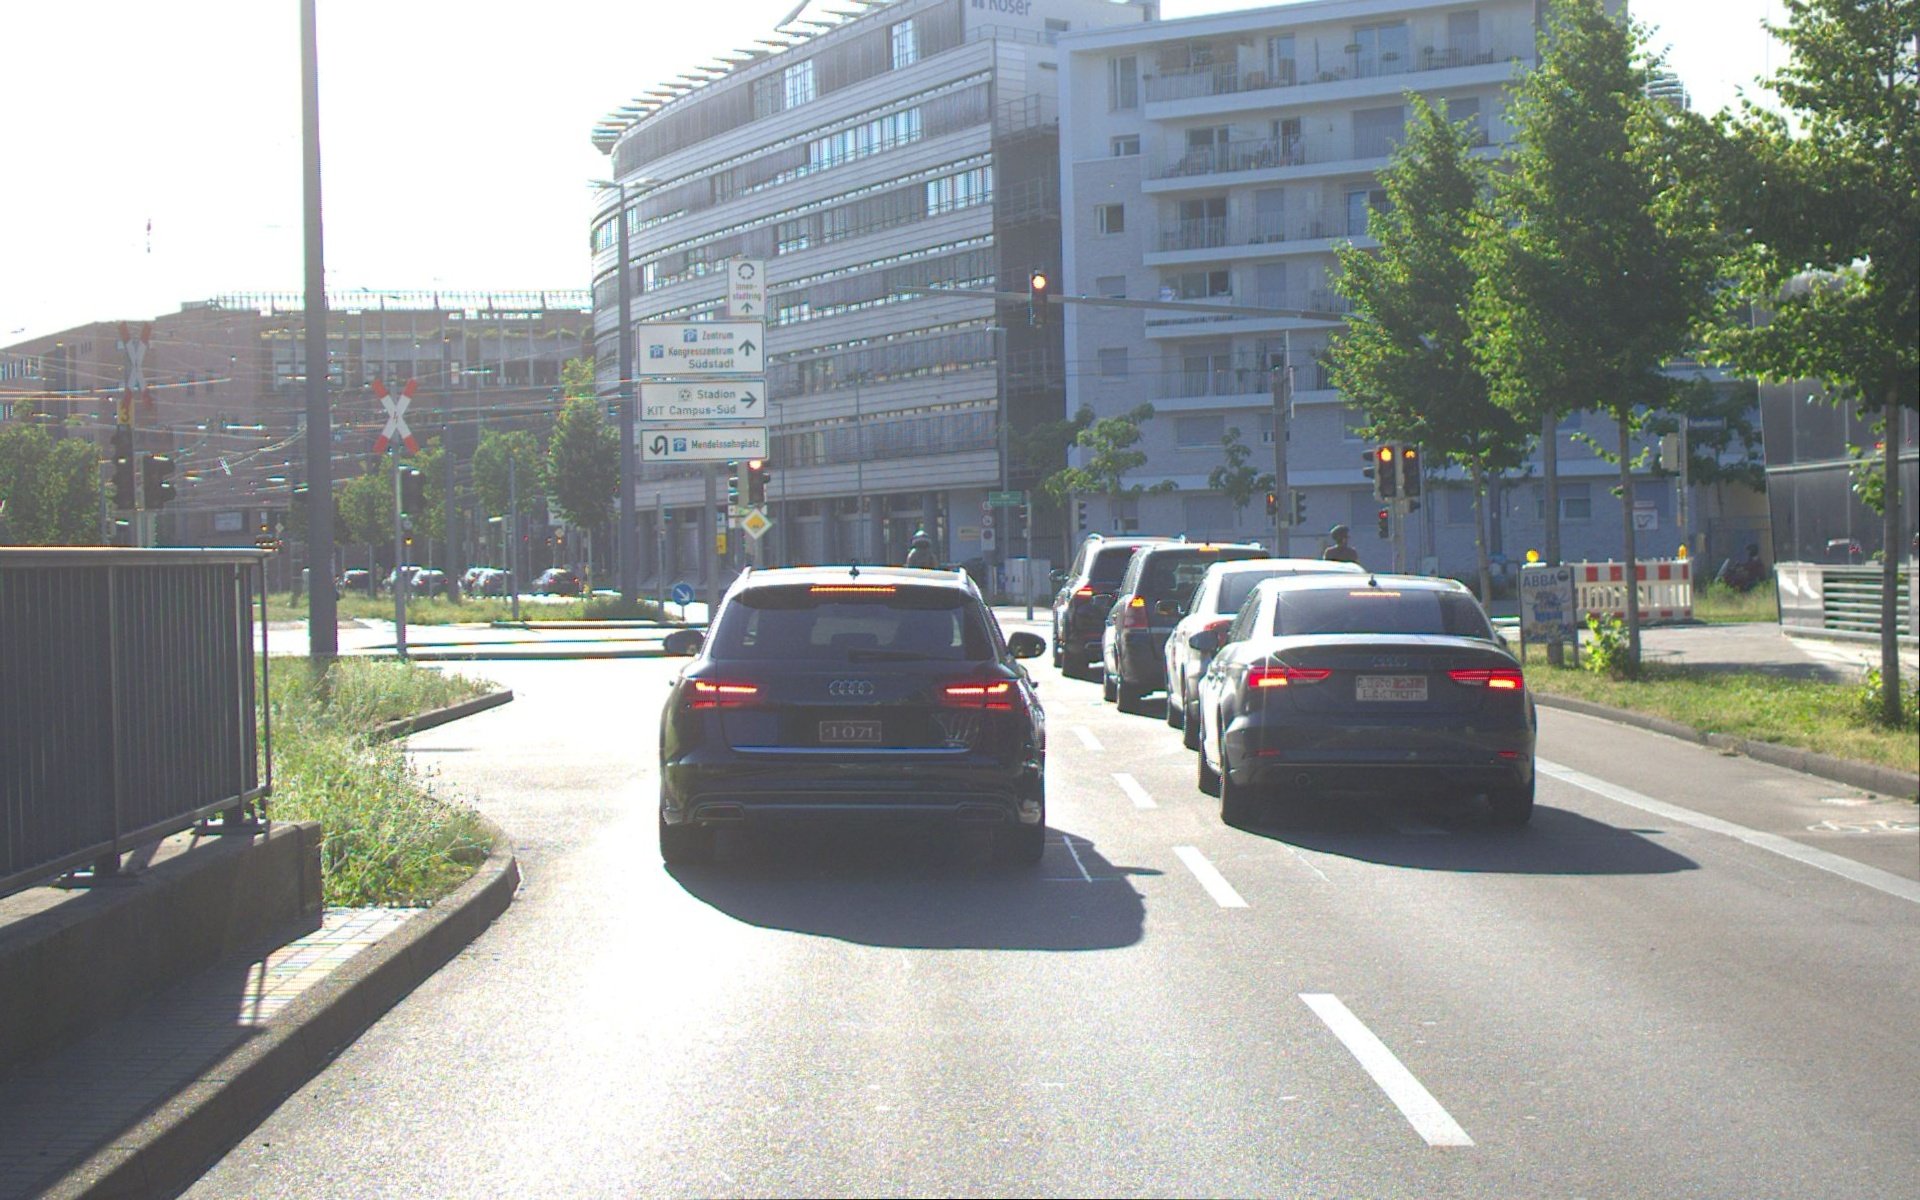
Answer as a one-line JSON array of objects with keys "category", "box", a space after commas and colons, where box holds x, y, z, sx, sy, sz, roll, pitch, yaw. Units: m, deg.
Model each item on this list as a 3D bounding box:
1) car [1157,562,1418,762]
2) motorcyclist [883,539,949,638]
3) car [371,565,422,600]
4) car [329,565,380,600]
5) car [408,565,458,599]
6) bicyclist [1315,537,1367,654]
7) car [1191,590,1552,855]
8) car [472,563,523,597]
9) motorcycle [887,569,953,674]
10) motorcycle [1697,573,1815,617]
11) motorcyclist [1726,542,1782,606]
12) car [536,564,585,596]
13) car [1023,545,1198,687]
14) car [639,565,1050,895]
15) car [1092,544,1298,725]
[{"category": "car", "box": [2.600, 0.451, 28.188, 1.746, 1.476, 4.628, -1, 0, 1]}, {"category": "motorcyclist", "box": [-0.596, -0.159, 46.747, 0.862, 1.322, 0.681, -1, 0, 0]}, {"category": "car", "box": [-29.415, -0.911, 179.358, 1.993, 1.700, 4.001, -2, 0, -18]}, {"category": "car", "box": [-31.443, -0.923, 178.507, 1.993, 1.700, 4.001, -2, 0, -18]}, {"category": "car", "box": [-26.626, -0.896, 173.582, 1.993, 1.590, 4.001, -2, 0, -15]}, {"category": "bicyclist", "box": [5.427, -0.077, 48.967, 0.654, 1.637, 0.972, -1, 1, 3]}, {"category": "car", "box": [2.333, 0.647, 20.431, 1.746, 1.387, 4.264, 0, 0, 2]}, {"category": "car", "box": [-23.067, -1.004, 171.356, 1.993, 1.590, 4.001, -2, 0, -14]}, {"category": "motorcycle", "box": [-0.543, 0.278, 46.905, 0.862, 1.388, 1.894, -1, 0, 0]}, {"category": "motorcycle", "box": [18.795, -0.127, 81.163, 2.452, 0.997, 1.172, -1, 0, -5]}, {"category": "motorcyclist", "box": [18.738, -0.613, 81.156, 0.924, 1.476, 1.172, -1, 0, -5]}, {"category": "car", "box": [-21.344, -1.044, 183.697, 1.993, 1.590, 4.001, -2, 0, -15]}, {"category": "car", "box": [1.873, 0.165, 44.123, 2.003, 1.709, 4.372, 1, 1, 0]}, {"category": "car", "box": [-0.545, 0.567, 17.538, 1.842, 1.449, 4.000, 1, 1, -1]}, {"category": "car", "box": [2.287, 0.307, 34.418, 1.746, 1.690, 4.261, 0, 0, 0]}]
